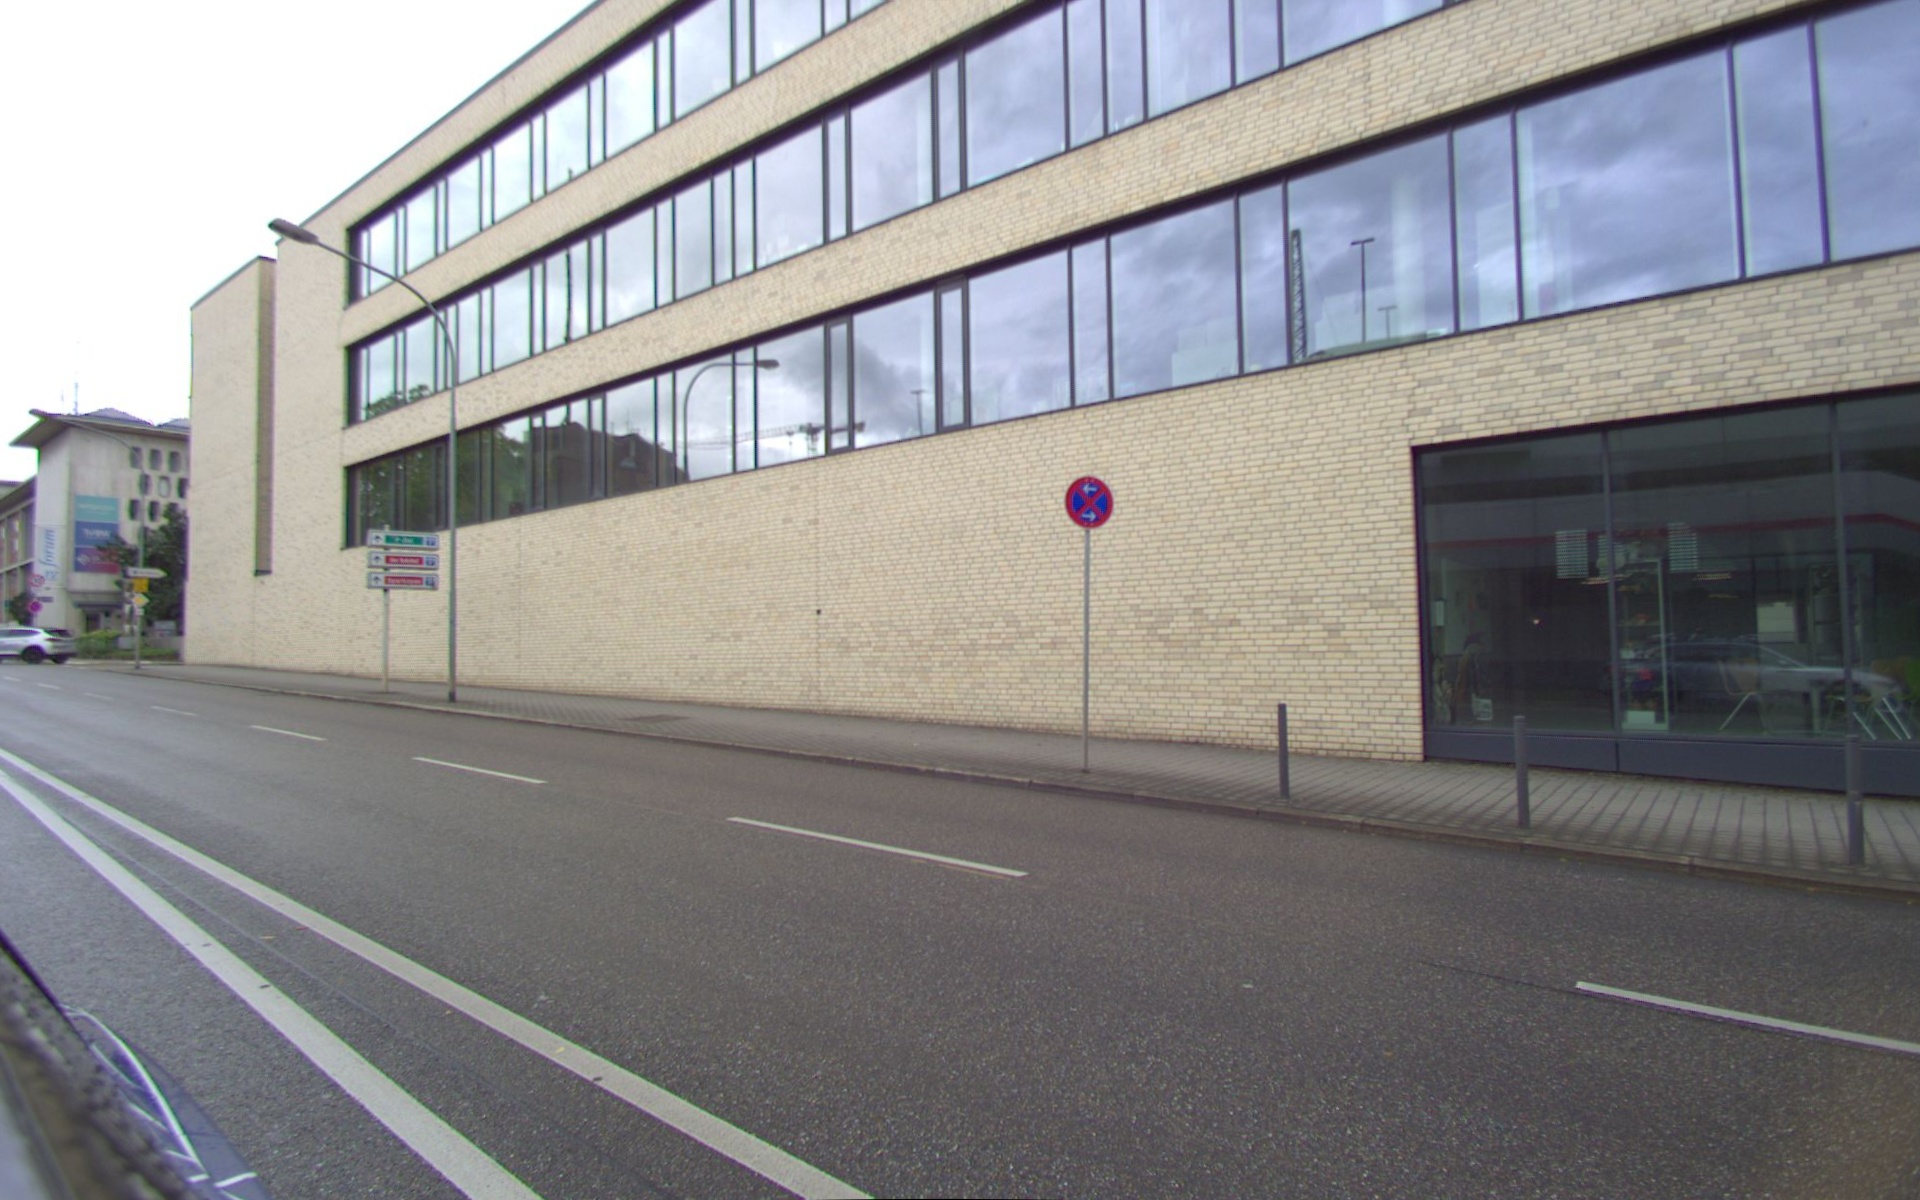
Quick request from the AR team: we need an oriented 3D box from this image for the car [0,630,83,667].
[{"bbox_3d":[-41.823,2.164,44.925,3.987,1.537,1.807,-2,-1,-14],"label":"car"}]
